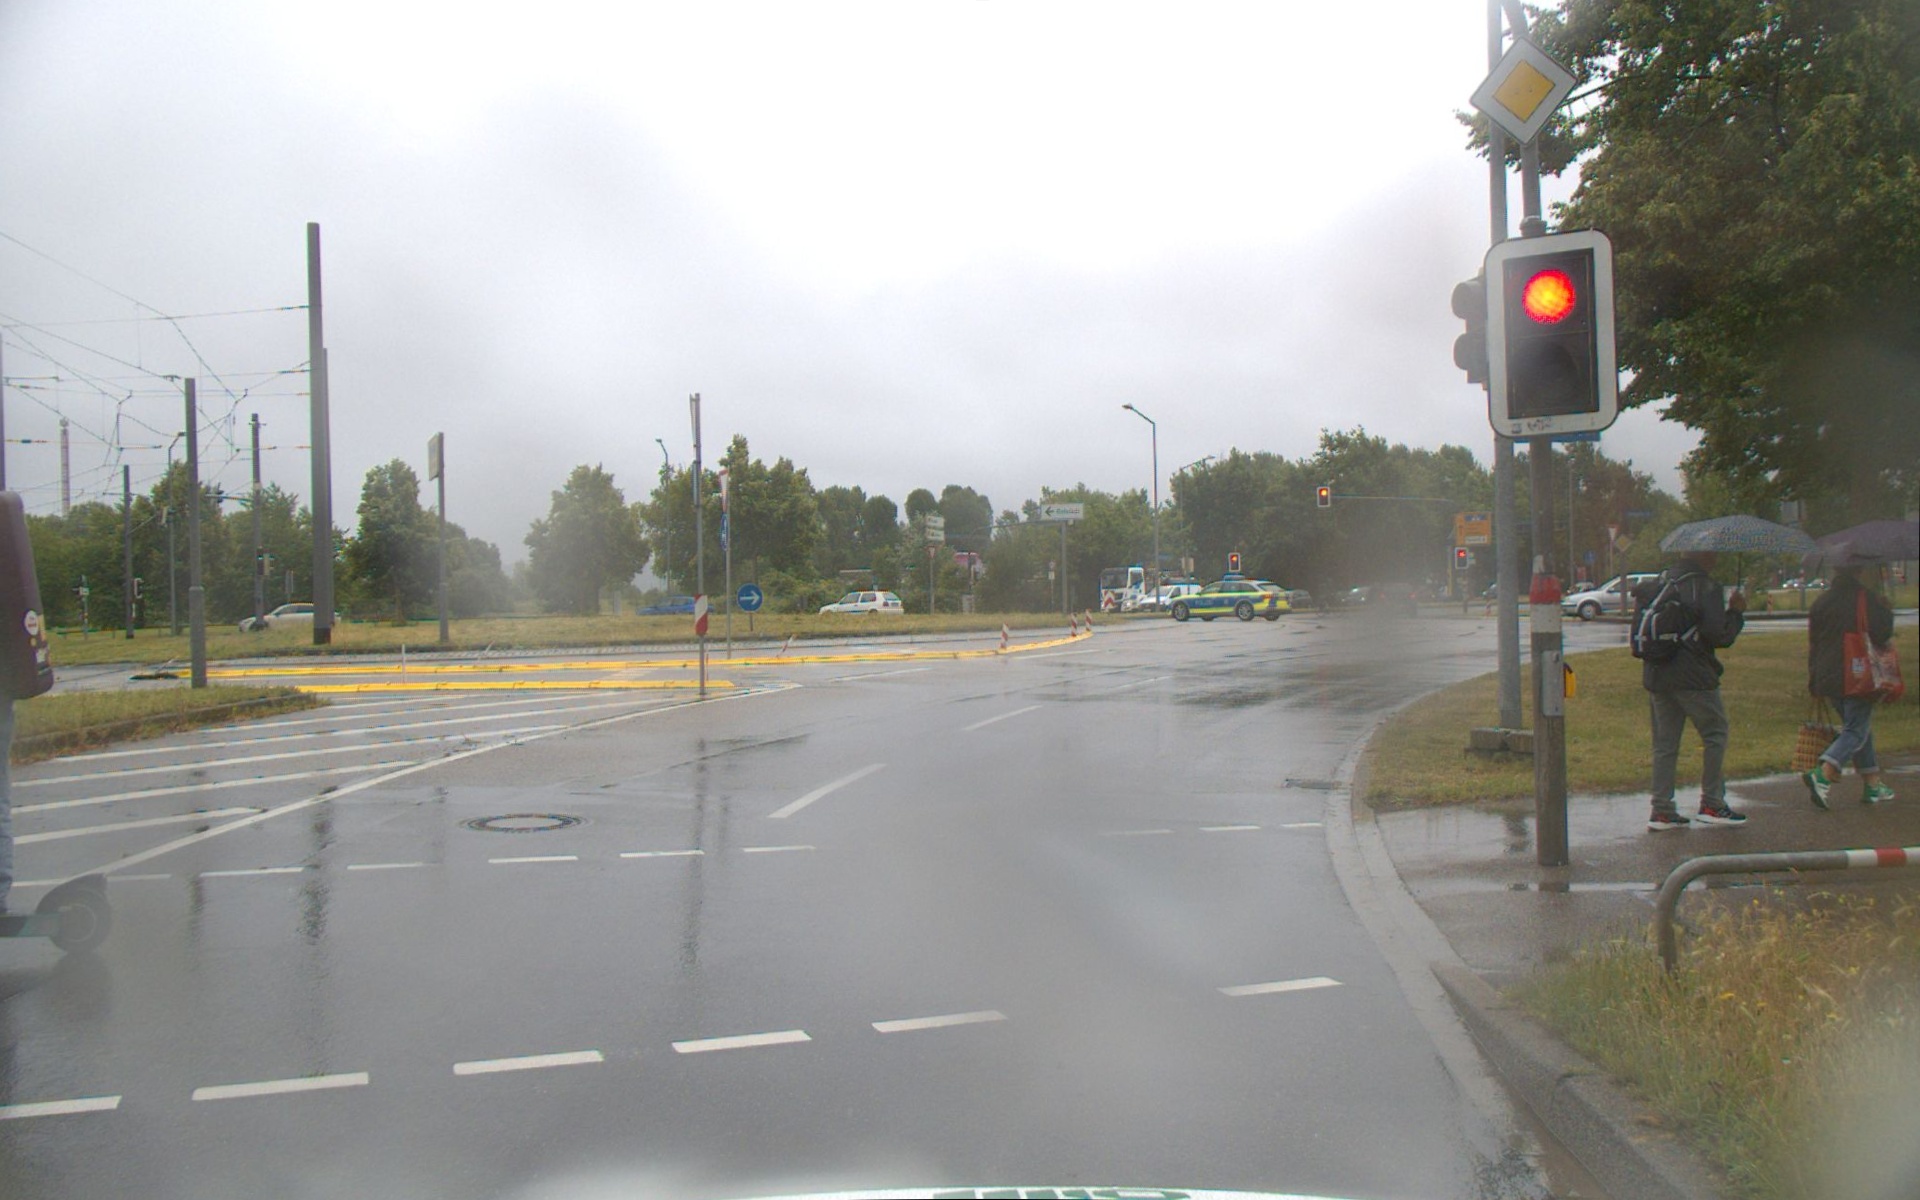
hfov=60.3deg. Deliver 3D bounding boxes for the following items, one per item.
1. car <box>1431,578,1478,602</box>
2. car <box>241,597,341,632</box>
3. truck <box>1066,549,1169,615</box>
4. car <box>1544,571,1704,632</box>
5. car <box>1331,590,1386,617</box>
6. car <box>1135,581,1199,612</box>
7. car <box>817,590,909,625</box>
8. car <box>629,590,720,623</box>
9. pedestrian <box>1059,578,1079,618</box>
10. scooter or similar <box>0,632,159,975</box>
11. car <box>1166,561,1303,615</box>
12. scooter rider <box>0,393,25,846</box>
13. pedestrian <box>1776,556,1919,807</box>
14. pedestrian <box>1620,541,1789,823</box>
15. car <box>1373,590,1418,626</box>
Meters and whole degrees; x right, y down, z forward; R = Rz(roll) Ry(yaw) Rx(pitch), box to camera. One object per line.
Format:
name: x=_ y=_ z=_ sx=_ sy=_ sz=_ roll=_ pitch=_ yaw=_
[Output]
car: x=36.588 y=-0.749 z=122.262 sx=1.769 sy=1.691 sz=4.386 roll=-1 pitch=0 yaw=40
car: x=-30.382 y=0.633 z=75.170 sx=4.054 sy=1.479 sz=1.608 roll=-1 pitch=0 yaw=-29
truck: x=7.181 y=-0.747 z=74.317 sx=2.411 sy=2.733 sz=8.058 roll=1 pitch=-1 yaw=22
car: x=21.586 y=0.039 z=53.959 sx=4.660 sy=1.884 sz=2.001 roll=1 pitch=-1 yaw=17
car: x=26.545 y=0.253 z=110.055 sx=1.769 sy=1.691 sz=4.386 roll=0 pitch=-1 yaw=40
car: x=12.115 y=-0.177 z=96.688 sx=1.769 sy=1.691 sz=4.112 roll=0 pitch=-1 yaw=40
car: x=-4.396 y=0.344 z=74.585 sx=3.900 sy=1.479 sz=1.621 roll=-1 pitch=0 yaw=30
car: x=-13.474 y=0.297 z=78.060 sx=3.889 sy=1.479 sz=1.625 roll=-1 pitch=0 yaw=12
pedestrian: x=3.603 y=-0.061 z=54.484 sx=0.445 sy=1.327 sz=0.484 roll=-1 pitch=0 yaw=38
scooter or similar: x=-3.980 y=0.764 z=6.339 sx=1.561 sy=1.281 sz=0.445 roll=1 pitch=-1 yaw=-20
car: x=9.957 y=-0.405 z=60.337 sx=1.985 sy=1.883 sz=4.699 roll=-1 pitch=0 yaw=-43
scooter rider: x=-3.962 y=0.070 z=6.359 sx=0.523 sy=1.739 sz=0.432 roll=-2 pitch=0 yaw=-19
pedestrian: x=5.554 y=0.488 z=10.226 sx=0.667 sy=1.486 sz=0.573 roll=-2 pitch=-1 yaw=-5
pedestrian: x=4.256 y=0.453 z=9.497 sx=0.608 sy=1.549 sz=0.741 roll=1 pitch=0 yaw=-2
car: x=18.794 y=0.314 z=71.477 sx=1.583 sy=1.479 sz=3.991 roll=-1 pitch=0 yaw=11
